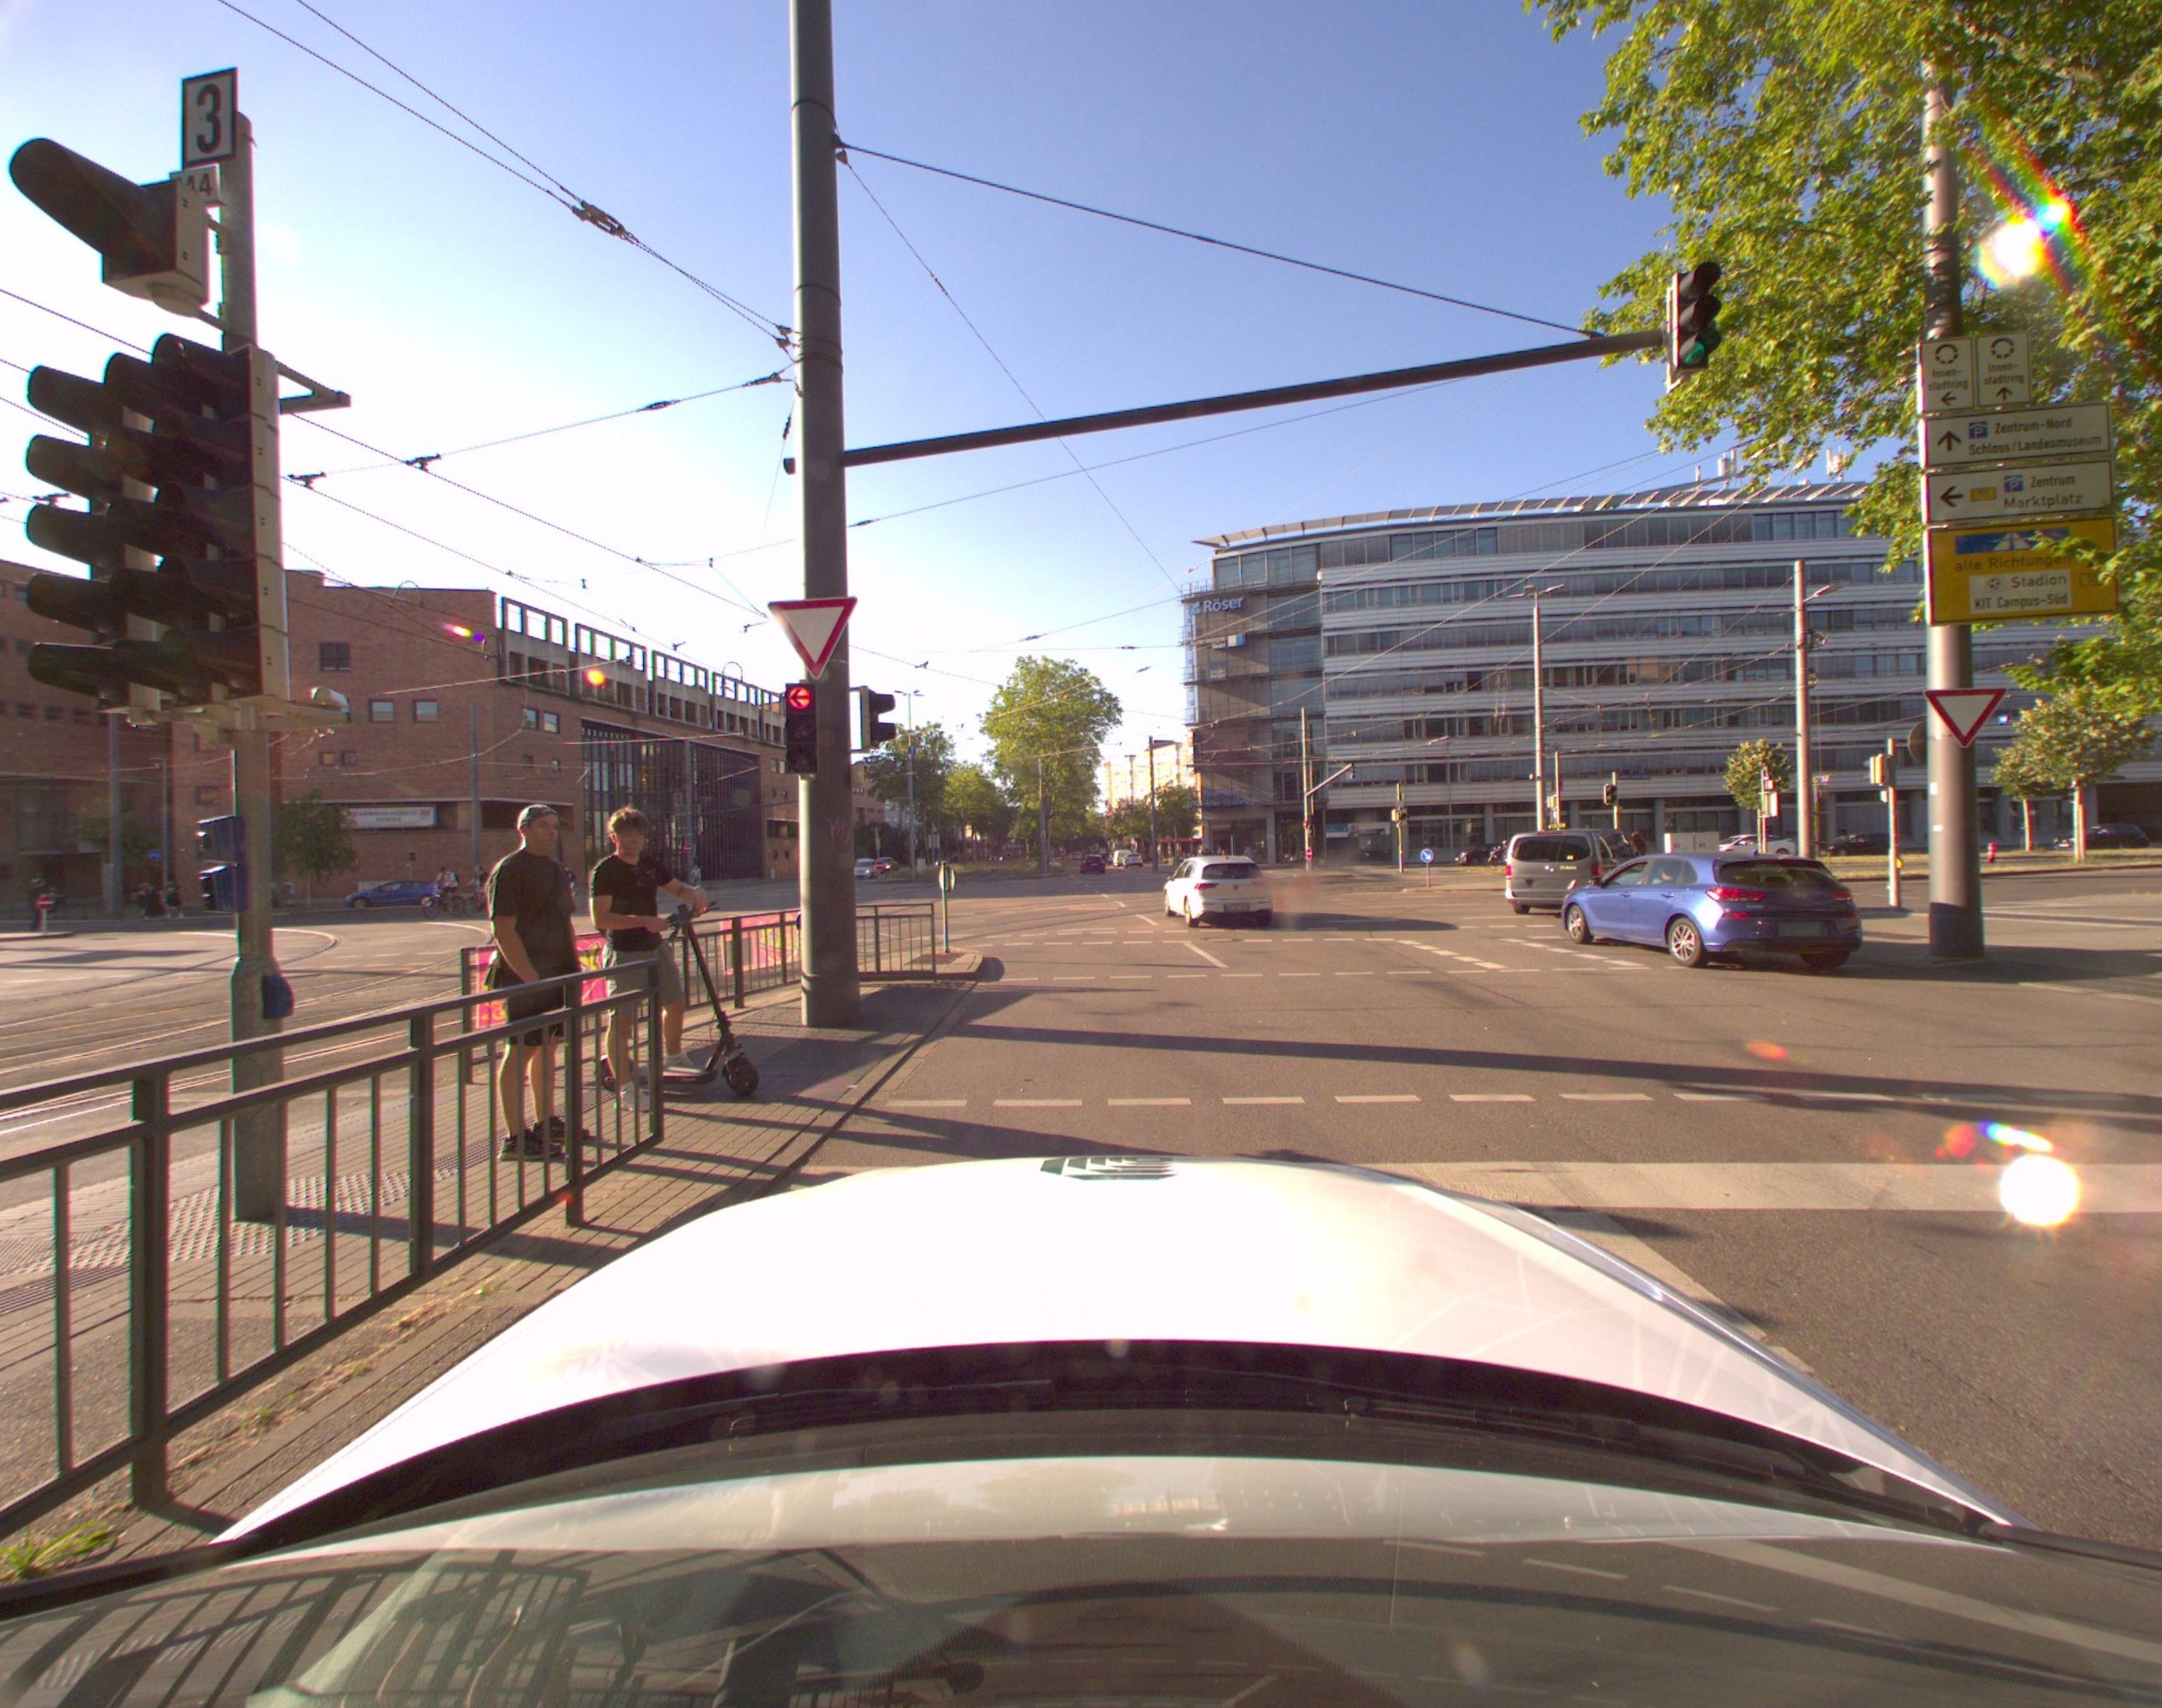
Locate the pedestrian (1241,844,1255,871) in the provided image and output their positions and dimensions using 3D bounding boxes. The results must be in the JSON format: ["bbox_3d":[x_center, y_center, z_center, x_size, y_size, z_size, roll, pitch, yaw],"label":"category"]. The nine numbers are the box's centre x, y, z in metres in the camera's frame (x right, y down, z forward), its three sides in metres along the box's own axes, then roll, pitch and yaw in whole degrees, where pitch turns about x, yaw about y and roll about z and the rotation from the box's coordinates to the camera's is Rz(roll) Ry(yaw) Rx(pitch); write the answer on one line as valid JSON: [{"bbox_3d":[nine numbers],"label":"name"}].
[{"bbox_3d":[12.648,0.290,61.714,0.866,2.014,0.794,0,-1,1],"label":"pedestrian"}]

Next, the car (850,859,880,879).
[{"bbox_3d":[-17.995,1.209,67.887,1.618,1.577,3.994,-2,0,-4],"label":"car"}]

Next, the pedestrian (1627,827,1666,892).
[{"bbox_3d":[15.677,0.159,22.587,0.677,1.759,0.746,-2,0,22],"label":"pedestrian"}]

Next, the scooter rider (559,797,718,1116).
[{"bbox_3d":[-2.751,0.609,5.112,0.563,1.853,0.681,-2,-2,6],"label":"scooter rider"}]

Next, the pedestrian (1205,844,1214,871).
[{"bbox_3d":[9.753,0.294,61.796,0.584,2.014,0.620,0,-1,2],"label":"pedestrian"}]

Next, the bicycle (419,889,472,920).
[{"bbox_3d":[-23.159,1.809,29.706,0.652,0.998,1.896,-2,0,-9],"label":"bicycle"}]

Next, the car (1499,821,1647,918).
[{"bbox_3d":[11.267,0.277,18.472,1.982,1.896,4.913,-1,0,42],"label":"car"}]

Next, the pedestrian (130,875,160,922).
[{"bbox_3d":[-40.946,1.947,35.630,0.615,2.013,0.726,-2,0,-28],"label":"pedestrian"}]

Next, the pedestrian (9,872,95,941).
[{"bbox_3d":[-30.866,1.547,24.457,1.029,2.014,1.208,0,-1,1],"label":"pedestrian"}]

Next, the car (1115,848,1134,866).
[{"bbox_3d":[4.744,0.345,89.681,1.986,2.014,4.001,0,-1,2],"label":"car"}]

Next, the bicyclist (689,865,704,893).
[{"bbox_3d":[-23.472,1.517,49.737,0.585,1.625,0.514,-2,0,-3],"label":"bicyclist"}]

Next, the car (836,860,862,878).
[{"bbox_3d":[-23.902,1.491,84.165,1.865,1.762,3.992,0,0,-5],"label":"car"}]

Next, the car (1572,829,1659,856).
[{"bbox_3d":[31.942,-0.682,48.752,3.966,1.552,1.800,0,-1,6],"label":"car"}]

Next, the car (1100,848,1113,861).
[{"bbox_3d":[3.998,0.141,126.740,1.986,2.014,4.001,0,-1,2],"label":"car"}]

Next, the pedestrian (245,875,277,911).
[{"bbox_3d":[-49.339,2.338,48.994,1.003,2.052,0.850,-2,0,-1],"label":"pedestrian"}]

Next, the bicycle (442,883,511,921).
[{"bbox_3d":[-22.100,1.737,29.823,0.681,1.142,2.115,-2,2,7],"label":"bicycle"}]

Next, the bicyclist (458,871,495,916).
[{"bbox_3d":[-22.111,1.430,29.813,0.678,1.560,0.760,-2,2,6],"label":"bicyclist"}]

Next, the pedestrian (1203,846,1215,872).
[{"bbox_3d":[9.716,0.382,61.873,0.846,2.014,0.708,0,-1,1],"label":"pedestrian"}]

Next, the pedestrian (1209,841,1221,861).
[{"bbox_3d":[14.539,-0.347,88.346,1.305,2.190,1.173,-1,-1,8],"label":"pedestrian"}]

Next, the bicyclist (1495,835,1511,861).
[{"bbox_3d":[25.368,-0.374,48.952,0.660,1.503,0.614,-2,0,7],"label":"bicyclist"}]

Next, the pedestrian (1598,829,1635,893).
[{"bbox_3d":[15.004,0.187,22.830,0.671,1.759,0.746,-2,0,22],"label":"pedestrian"}]

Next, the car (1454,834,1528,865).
[{"bbox_3d":[27.179,-0.288,54.087,3.972,2.014,2.001,0,-1,2],"label":"car"}]

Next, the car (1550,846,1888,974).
[{"bbox_3d":[8.533,0.644,11.464,1.739,1.459,4.219,-1,0,5],"label":"car"}]

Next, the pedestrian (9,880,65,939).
[{"bbox_3d":[-34.978,1.850,27.300,0.721,1.902,0.875,0,-1,-1],"label":"pedestrian"}]

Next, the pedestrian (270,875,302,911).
[{"bbox_3d":[-47.773,2.335,48.969,1.003,2.052,0.850,-2,0,-1],"label":"pedestrian"}]

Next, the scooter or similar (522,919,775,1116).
[{"bbox_3d":[-2.665,0.990,5.096,1.196,1.081,0.649,-2,0,5],"label":"scooter or similar"}]

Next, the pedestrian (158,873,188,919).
[{"bbox_3d":[-40.401,1.853,36.239,0.615,2.013,0.726,-2,0,-28],"label":"pedestrian"}]

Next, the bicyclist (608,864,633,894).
[{"bbox_3d":[-23.419,1.245,41.431,0.652,1.474,1.031,-1,-1,-3],"label":"bicyclist"}]

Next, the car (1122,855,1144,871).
[{"bbox_3d":[5.267,0.919,82.904,2.022,1.596,4.001,0,-1,2],"label":"car"}]

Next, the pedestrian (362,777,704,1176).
[{"bbox_3d":[-2.835,0.598,4.326,1.161,1.884,0.856,-2,0,6],"label":"pedestrian"}]

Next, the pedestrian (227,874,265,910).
[{"bbox_3d":[-49.049,2.243,47.848,1.155,2.013,0.910,-2,0,-2],"label":"pedestrian"}]

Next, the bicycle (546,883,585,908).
[{"bbox_3d":[-23.202,1.853,36.689,0.692,0.998,1.898,-2,0,-5],"label":"bicycle"}]

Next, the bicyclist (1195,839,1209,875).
[{"bbox_3d":[4.891,0.130,32.927,0.485,1.439,0.616,-1,0,1],"label":"bicyclist"}]

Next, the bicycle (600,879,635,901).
[{"bbox_3d":[-23.405,1.816,41.150,0.650,1.050,2.010,-1,0,-3],"label":"bicycle"}]

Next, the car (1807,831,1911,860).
[{"bbox_3d":[45.380,-0.480,47.578,4.097,1.596,1.884,0,-1,5],"label":"car"}]

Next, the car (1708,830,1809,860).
[{"bbox_3d":[37.603,-0.499,45.298,3.968,1.596,1.884,0,-1,5],"label":"car"}]

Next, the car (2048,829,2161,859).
[{"bbox_3d":[57.526,-0.536,45.693,4.097,1.596,1.884,0,-1,5],"label":"car"}]

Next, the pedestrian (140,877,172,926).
[{"bbox_3d":[-39.022,1.977,34.359,0.615,2.013,0.726,-2,0,-29],"label":"pedestrian"}]

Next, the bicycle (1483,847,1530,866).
[{"bbox_3d":[25.555,0.136,48.953,2.397,1.022,0.638,-2,0,6],"label":"bicycle"}]

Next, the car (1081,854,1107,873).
[{"bbox_3d":[0.942,0.688,62.703,1.759,1.404,4.293,-1,0,-2],"label":"car"}]

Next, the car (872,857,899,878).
[{"bbox_3d":[-18.060,1.222,75.364,1.819,1.790,3.994,-2,0,-4],"label":"car"}]

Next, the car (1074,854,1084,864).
[{"bbox_3d":[-0.439,1.100,182.566,1.985,2.015,4.001,0,-6,3],"label":"car"}]

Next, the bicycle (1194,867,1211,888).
[{"bbox_3d":[4.875,0.934,32.744,0.489,0.788,1.862,-1,0,2],"label":"bicycle"}]

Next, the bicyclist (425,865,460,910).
[{"bbox_3d":[-23.147,1.193,29.528,0.660,1.574,0.756,-2,0,-9],"label":"bicyclist"}]

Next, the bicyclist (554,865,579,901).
[{"bbox_3d":[-23.210,1.315,36.741,0.660,1.569,0.757,-2,0,-6],"label":"bicyclist"}]

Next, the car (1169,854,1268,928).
[{"bbox_3d":[2.916,0.733,17.981,1.740,1.418,4.004,-1,0,4],"label":"car"}]

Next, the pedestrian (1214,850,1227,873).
[{"bbox_3d":[10.614,0.565,62.157,0.866,1.707,0.794,0,-1,1],"label":"pedestrian"}]

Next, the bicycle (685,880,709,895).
[{"bbox_3d":[-23.456,2.038,49.778,0.588,0.771,1.966,-2,0,-2],"label":"bicycle"}]

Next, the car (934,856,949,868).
[{"bbox_3d":[-19.661,1.163,115.023,1.673,1.607,3.994,0,-1,-4],"label":"car"}]

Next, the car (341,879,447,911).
[{"bbox_3d":[-34.036,2.005,40.442,3.725,1.376,1.572,-2,0,-28],"label":"car"}]

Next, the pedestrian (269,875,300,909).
[{"bbox_3d":[-49.411,2.348,50.525,1.003,2.052,0.850,-2,0,-1],"label":"pedestrian"}]
